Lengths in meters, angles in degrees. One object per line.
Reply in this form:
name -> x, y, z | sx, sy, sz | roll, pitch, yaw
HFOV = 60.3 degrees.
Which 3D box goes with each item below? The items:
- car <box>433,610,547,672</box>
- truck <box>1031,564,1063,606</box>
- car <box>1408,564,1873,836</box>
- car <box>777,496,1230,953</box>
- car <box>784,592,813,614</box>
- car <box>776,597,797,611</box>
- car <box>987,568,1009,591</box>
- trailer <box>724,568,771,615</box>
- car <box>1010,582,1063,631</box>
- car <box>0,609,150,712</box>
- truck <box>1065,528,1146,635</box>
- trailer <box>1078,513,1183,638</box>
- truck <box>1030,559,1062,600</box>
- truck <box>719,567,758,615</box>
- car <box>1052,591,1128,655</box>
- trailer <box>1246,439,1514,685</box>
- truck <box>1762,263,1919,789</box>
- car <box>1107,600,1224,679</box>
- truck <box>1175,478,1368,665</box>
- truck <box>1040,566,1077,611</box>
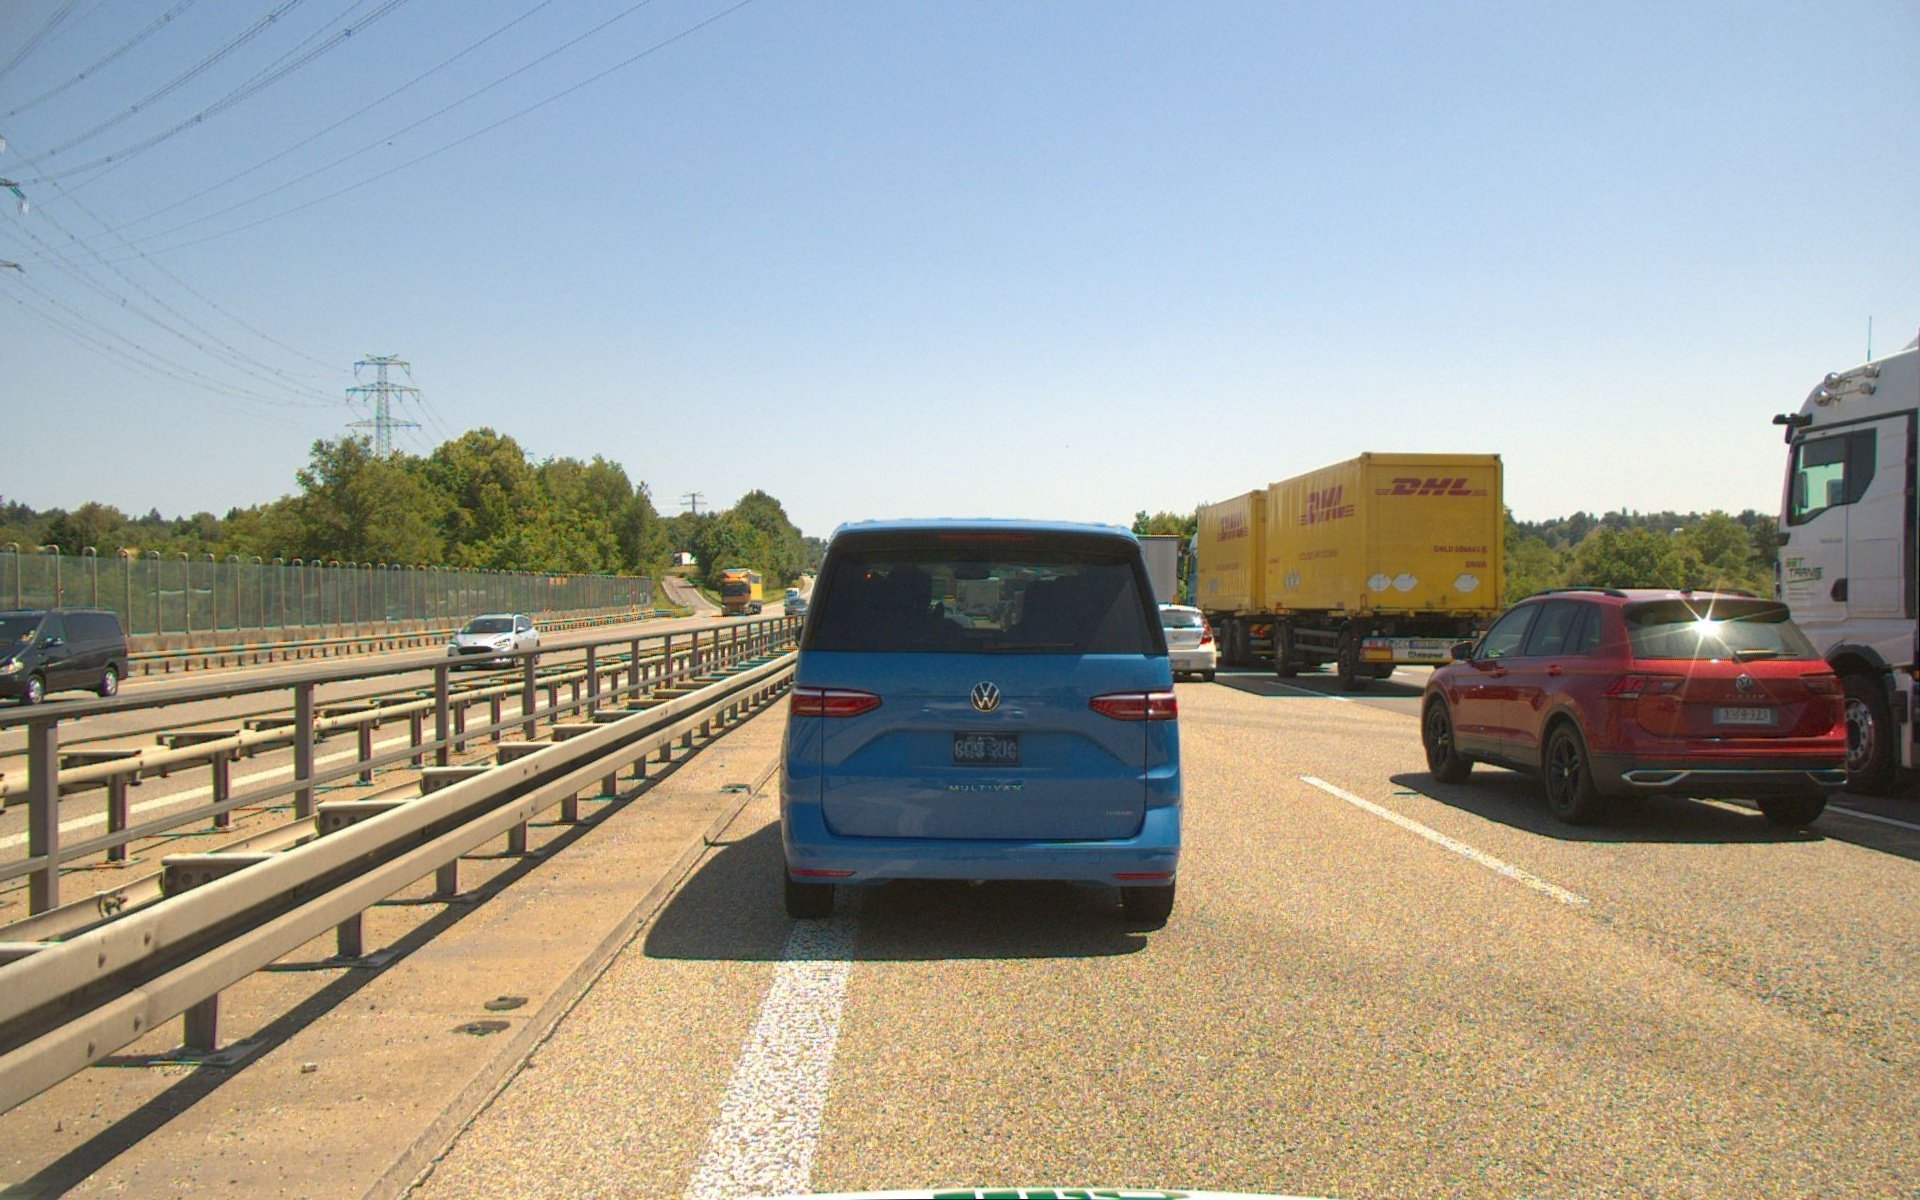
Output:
car -> -13.050, 1.113, 46.196 | 1.953, 1.571, 4.384 | -2, 0, -1
truck -> 5.465, -0.918, 104.214 | 1.706, 2.593, 4.209 | 1, -1, -1
car -> 5.011, 0.674, 12.897 | 1.674, 1.708, 4.282 | 2, -1, -3
car -> 0.143, 0.546, 8.997 | 1.891, 1.906, 3.999 | 1, -1, -1
car -> -12.102, 0.223, 124.021 | 1.726, 1.534, 4.222 | -2, 0, -1
car -> -18.691, 0.423, 178.277 | 1.654, 1.326, 4.013 | -3, -1, 2
car -> 3.661, -1.978, 159.920 | 1.953, 2.049, 3.999 | 1, -1, -1
trailer -> -20.083, -0.707, 157.147 | 2.574, 4.186, 14.015 | 0, -1, 0
car -> 3.177, 0.266, 69.621 | 1.922, 1.970, 3.931 | 1, -1, -1
car -> -18.814, 1.197, 34.119 | 1.918, 1.939, 4.948 | -2, 0, -3
truck -> 6.732, -0.791, 77.627 | 2.965, 4.692, 7.919 | 1, -1, -1
trailer -> 6.882, -0.888, 68.249 | 2.965, 4.692, 10.922 | 1, -1, -1
truck -> 5.672, -1.330, 109.109 | 1.760, 2.641, 4.304 | 1, -1, -1
truck -> -20.134, -0.814, 150.718 | 2.617, 4.258, 6.287 | -1, -1, 1
car -> 3.622, 0.645, 46.637 | 1.778, 1.708, 3.931 | 1, -1, -1
trailer -> 7.966, -0.606, 32.795 | 2.629, 4.159, 8.975 | 1, -1, -3
truck -> 8.775, -0.574, 9.629 | 2.794, 4.003, 10.605 | 1, -1, -2
car -> 4.163, 0.780, 33.999 | 1.778, 1.496, 3.930 | 1, -1, -2
truck -> 7.655, -0.604, 42.190 | 2.645, 4.159, 9.934 | 1, -1, -2
truck -> 5.670, -0.611, 95.315 | 1.761, 2.492, 4.503 | 1, -1, -1
